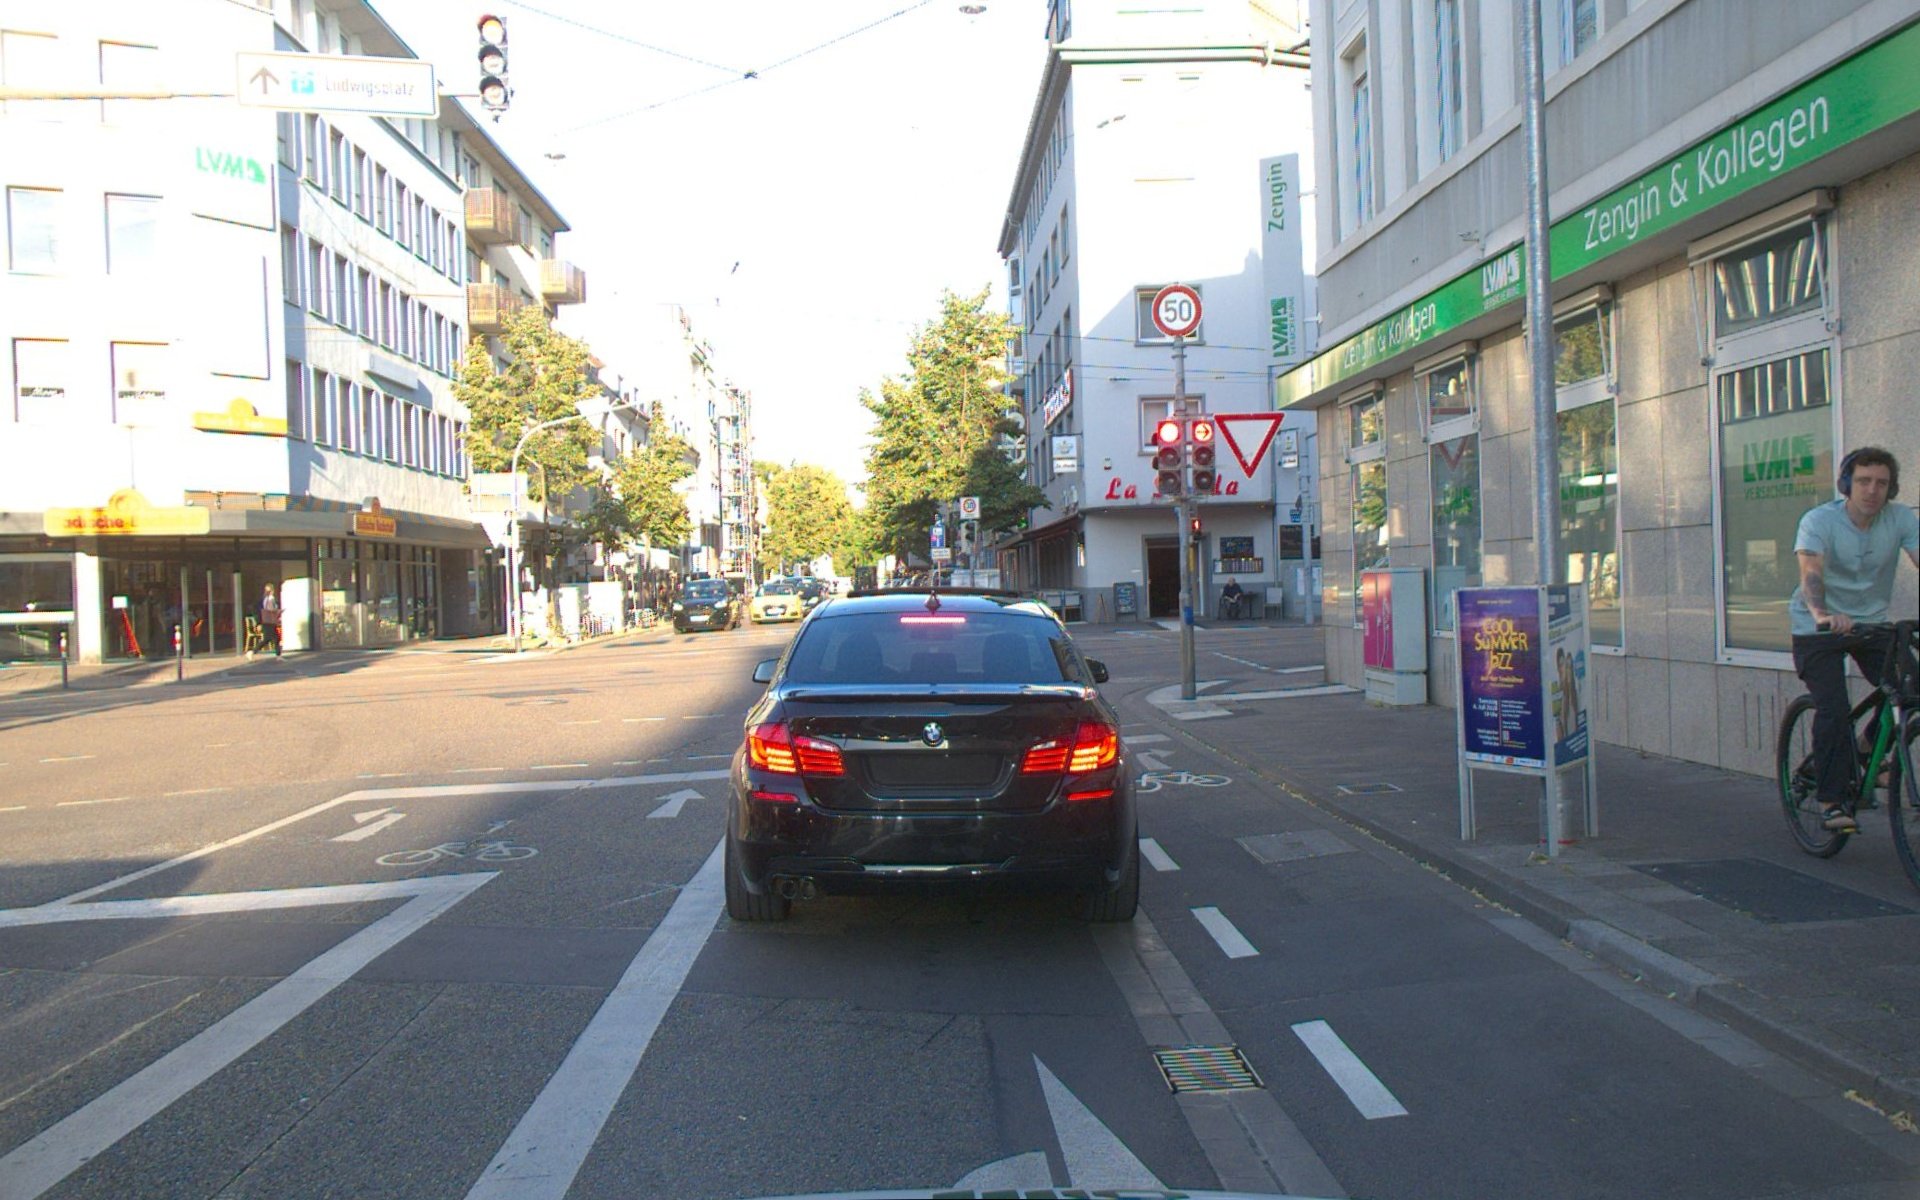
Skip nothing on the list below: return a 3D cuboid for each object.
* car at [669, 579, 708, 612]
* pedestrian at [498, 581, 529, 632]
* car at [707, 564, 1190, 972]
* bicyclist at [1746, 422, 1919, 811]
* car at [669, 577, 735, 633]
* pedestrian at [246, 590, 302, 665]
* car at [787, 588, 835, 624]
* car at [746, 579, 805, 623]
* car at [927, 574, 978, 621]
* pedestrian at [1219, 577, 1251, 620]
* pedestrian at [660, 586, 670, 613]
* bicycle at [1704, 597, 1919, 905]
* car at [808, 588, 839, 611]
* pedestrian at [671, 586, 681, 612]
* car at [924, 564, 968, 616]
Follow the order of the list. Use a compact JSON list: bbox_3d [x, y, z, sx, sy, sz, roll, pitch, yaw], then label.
[{"bbox_3d":[-13.069,-0.235,79.825,1.701,1.487,3.993,-2,1,-8],"label":"car"},{"bbox_3d":[-15.200,0.226,56.335,0.807,1.705,0.871,-2,0,-3],"label":"pedestrian"},{"bbox_3d":[-0.153,0.621,8.628,1.865,1.567,4.447,0,1,-3],"label":"car"},{"bbox_3d":[3.922,0.053,7.015,0.707,1.534,0.899,-2,0,-1],"label":"bicyclist"},{"bbox_3d":[-8.247,0.136,53.105,1.956,1.646,3.993,-2,1,-8],"label":"car"},{"bbox_3d":[-14.751,0.588,35.567,0.937,1.564,0.898,-2,0,-34],"label":"pedestrian"},{"bbox_3d":[-5.931,0.218,65.358,1.701,1.315,3.993,-2,1,-8],"label":"car"},{"bbox_3d":[-6.580,0.017,58.576,1.956,1.467,3.993,-2,1,-8],"label":"car"},{"bbox_3d":[-0.278,-0.089,55.597,1.593,1.497,3.393,-1,0,-3],"label":"car"},{"bbox_3d":[7.884,-0.050,47.427,0.683,1.177,0.843,-2,0,-4],"label":"pedestrian"},{"bbox_3d":[-16.247,-0.024,91.025,0.435,1.441,0.525,-2,0,-4],"label":"pedestrian"},{"bbox_3d":[3.933,0.571,6.970,0.676,1.126,1.895,-2,1,-1],"label":"bicycle"},{"bbox_3d":[-8.319,-0.063,100.536,1.701,1.315,3.993,-2,1,-8],"label":"car"},{"bbox_3d":[-15.797,-0.048,92.049,0.435,1.441,0.525,-2,0,-4],"label":"pedestrian"},{"bbox_3d":[-0.542,-0.377,61.993,1.393,1.887,3.049,-1,0,-5],"label":"car"}]
